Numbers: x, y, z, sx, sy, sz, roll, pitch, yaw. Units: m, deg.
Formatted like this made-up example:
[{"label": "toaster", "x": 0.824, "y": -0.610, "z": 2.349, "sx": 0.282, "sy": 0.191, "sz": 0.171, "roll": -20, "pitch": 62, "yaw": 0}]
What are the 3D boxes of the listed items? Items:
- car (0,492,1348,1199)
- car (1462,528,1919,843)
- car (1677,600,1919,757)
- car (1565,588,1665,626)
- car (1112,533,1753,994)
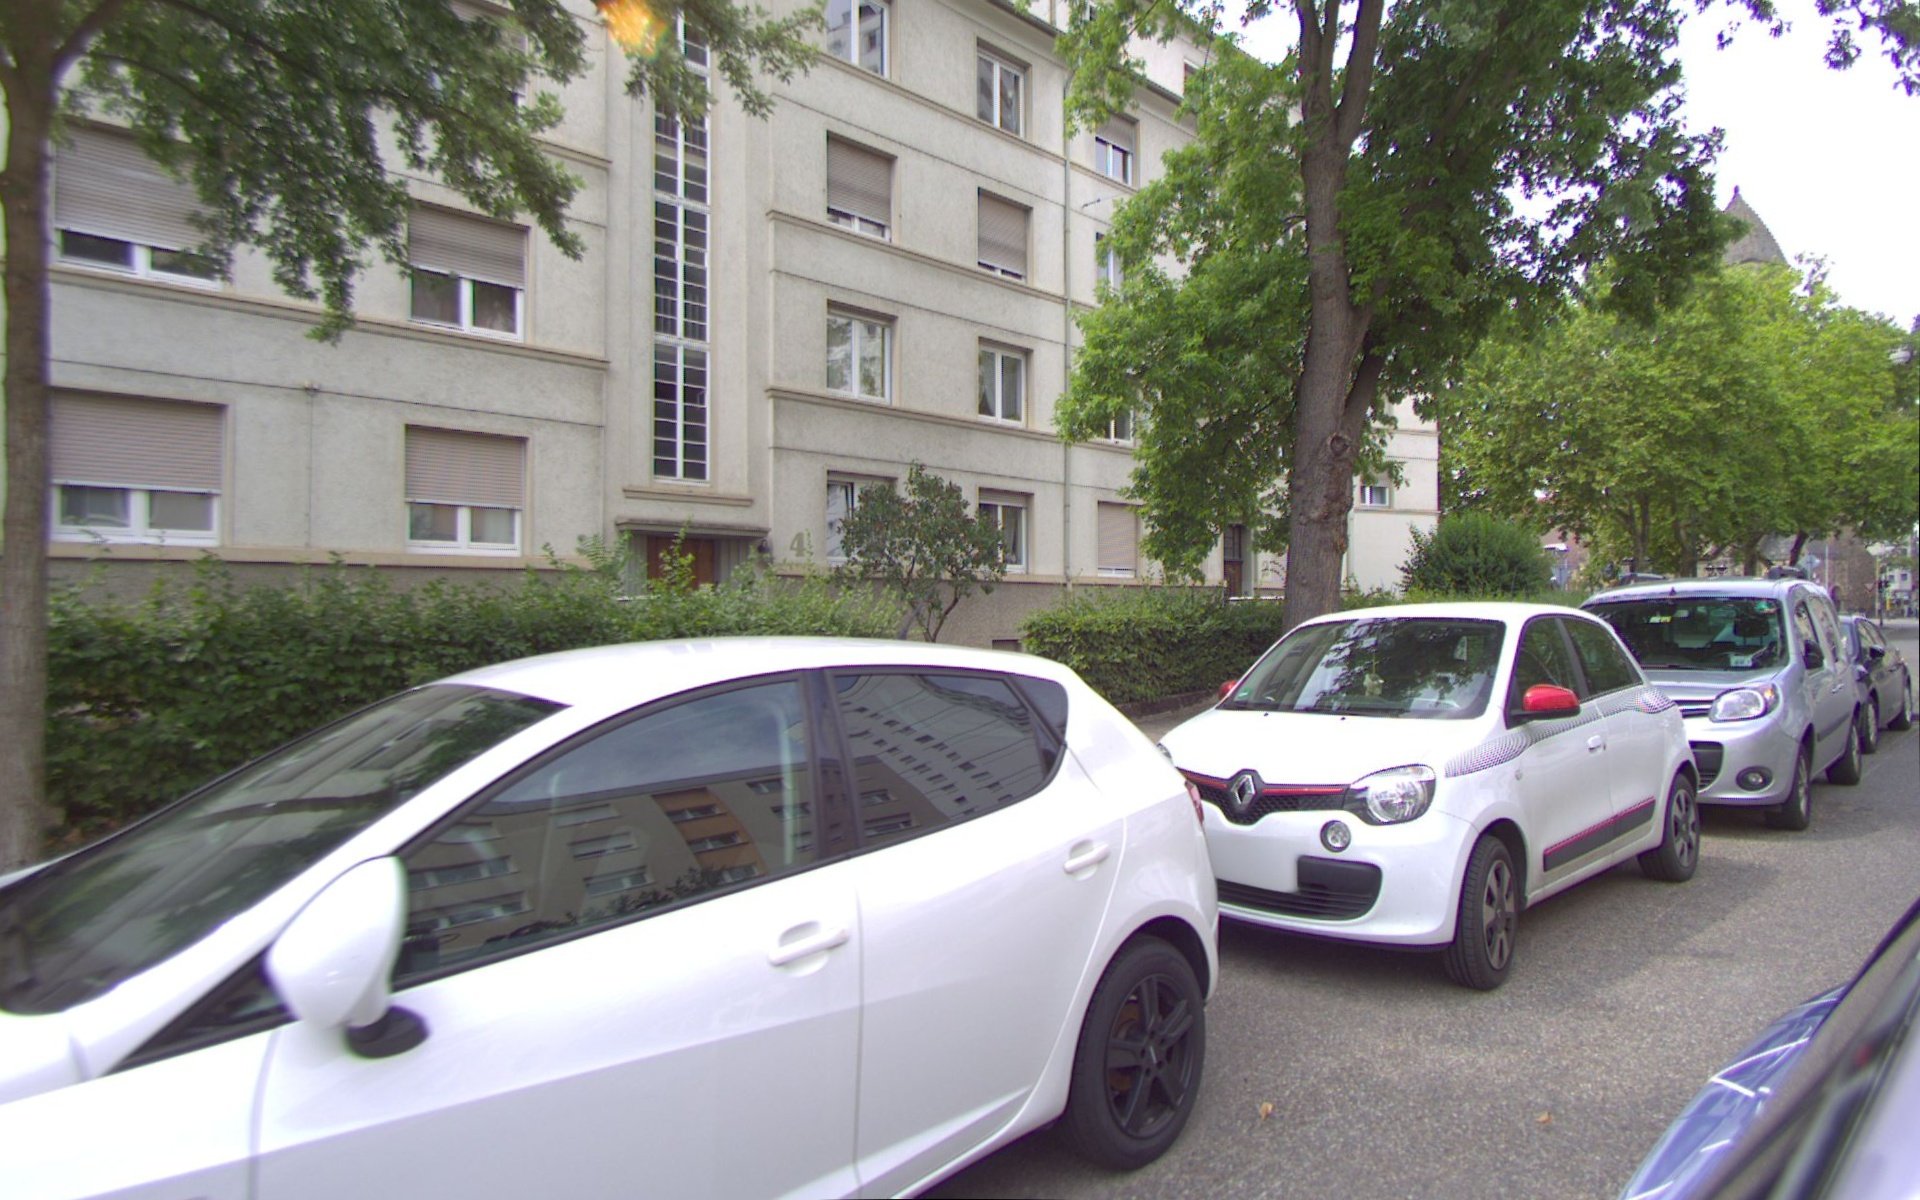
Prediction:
[{"label": "car", "x": -0.838, "y": 0.630, "z": 2.476, "sx": 4.031, "sy": 1.468, "sz": 1.699, "roll": 0, "pitch": -1, "yaw": -42}, {"label": "car", "x": 6.239, "y": 0.535, "z": 8.368, "sx": 4.759, "sy": 1.889, "sz": 1.921, "roll": 0, "pitch": -2, "yaw": -40}, {"label": "car", "x": 10.008, "y": 0.761, "z": 11.550, "sx": 4.163, "sy": 1.463, "sz": 1.921, "roll": 0, "pitch": -2, "yaw": -40}, {"label": "car", "x": 30.453, "y": 0.303, "z": 47.061, "sx": 4.241, "sy": 1.727, "sz": 1.942, "roll": 0, "pitch": -1, "yaw": -25}, {"label": "car", "x": 2.697, "y": 0.598, "z": 5.409, "sx": 3.736, "sy": 1.629, "sz": 1.607, "roll": 0, "pitch": -2, "yaw": -40}]
